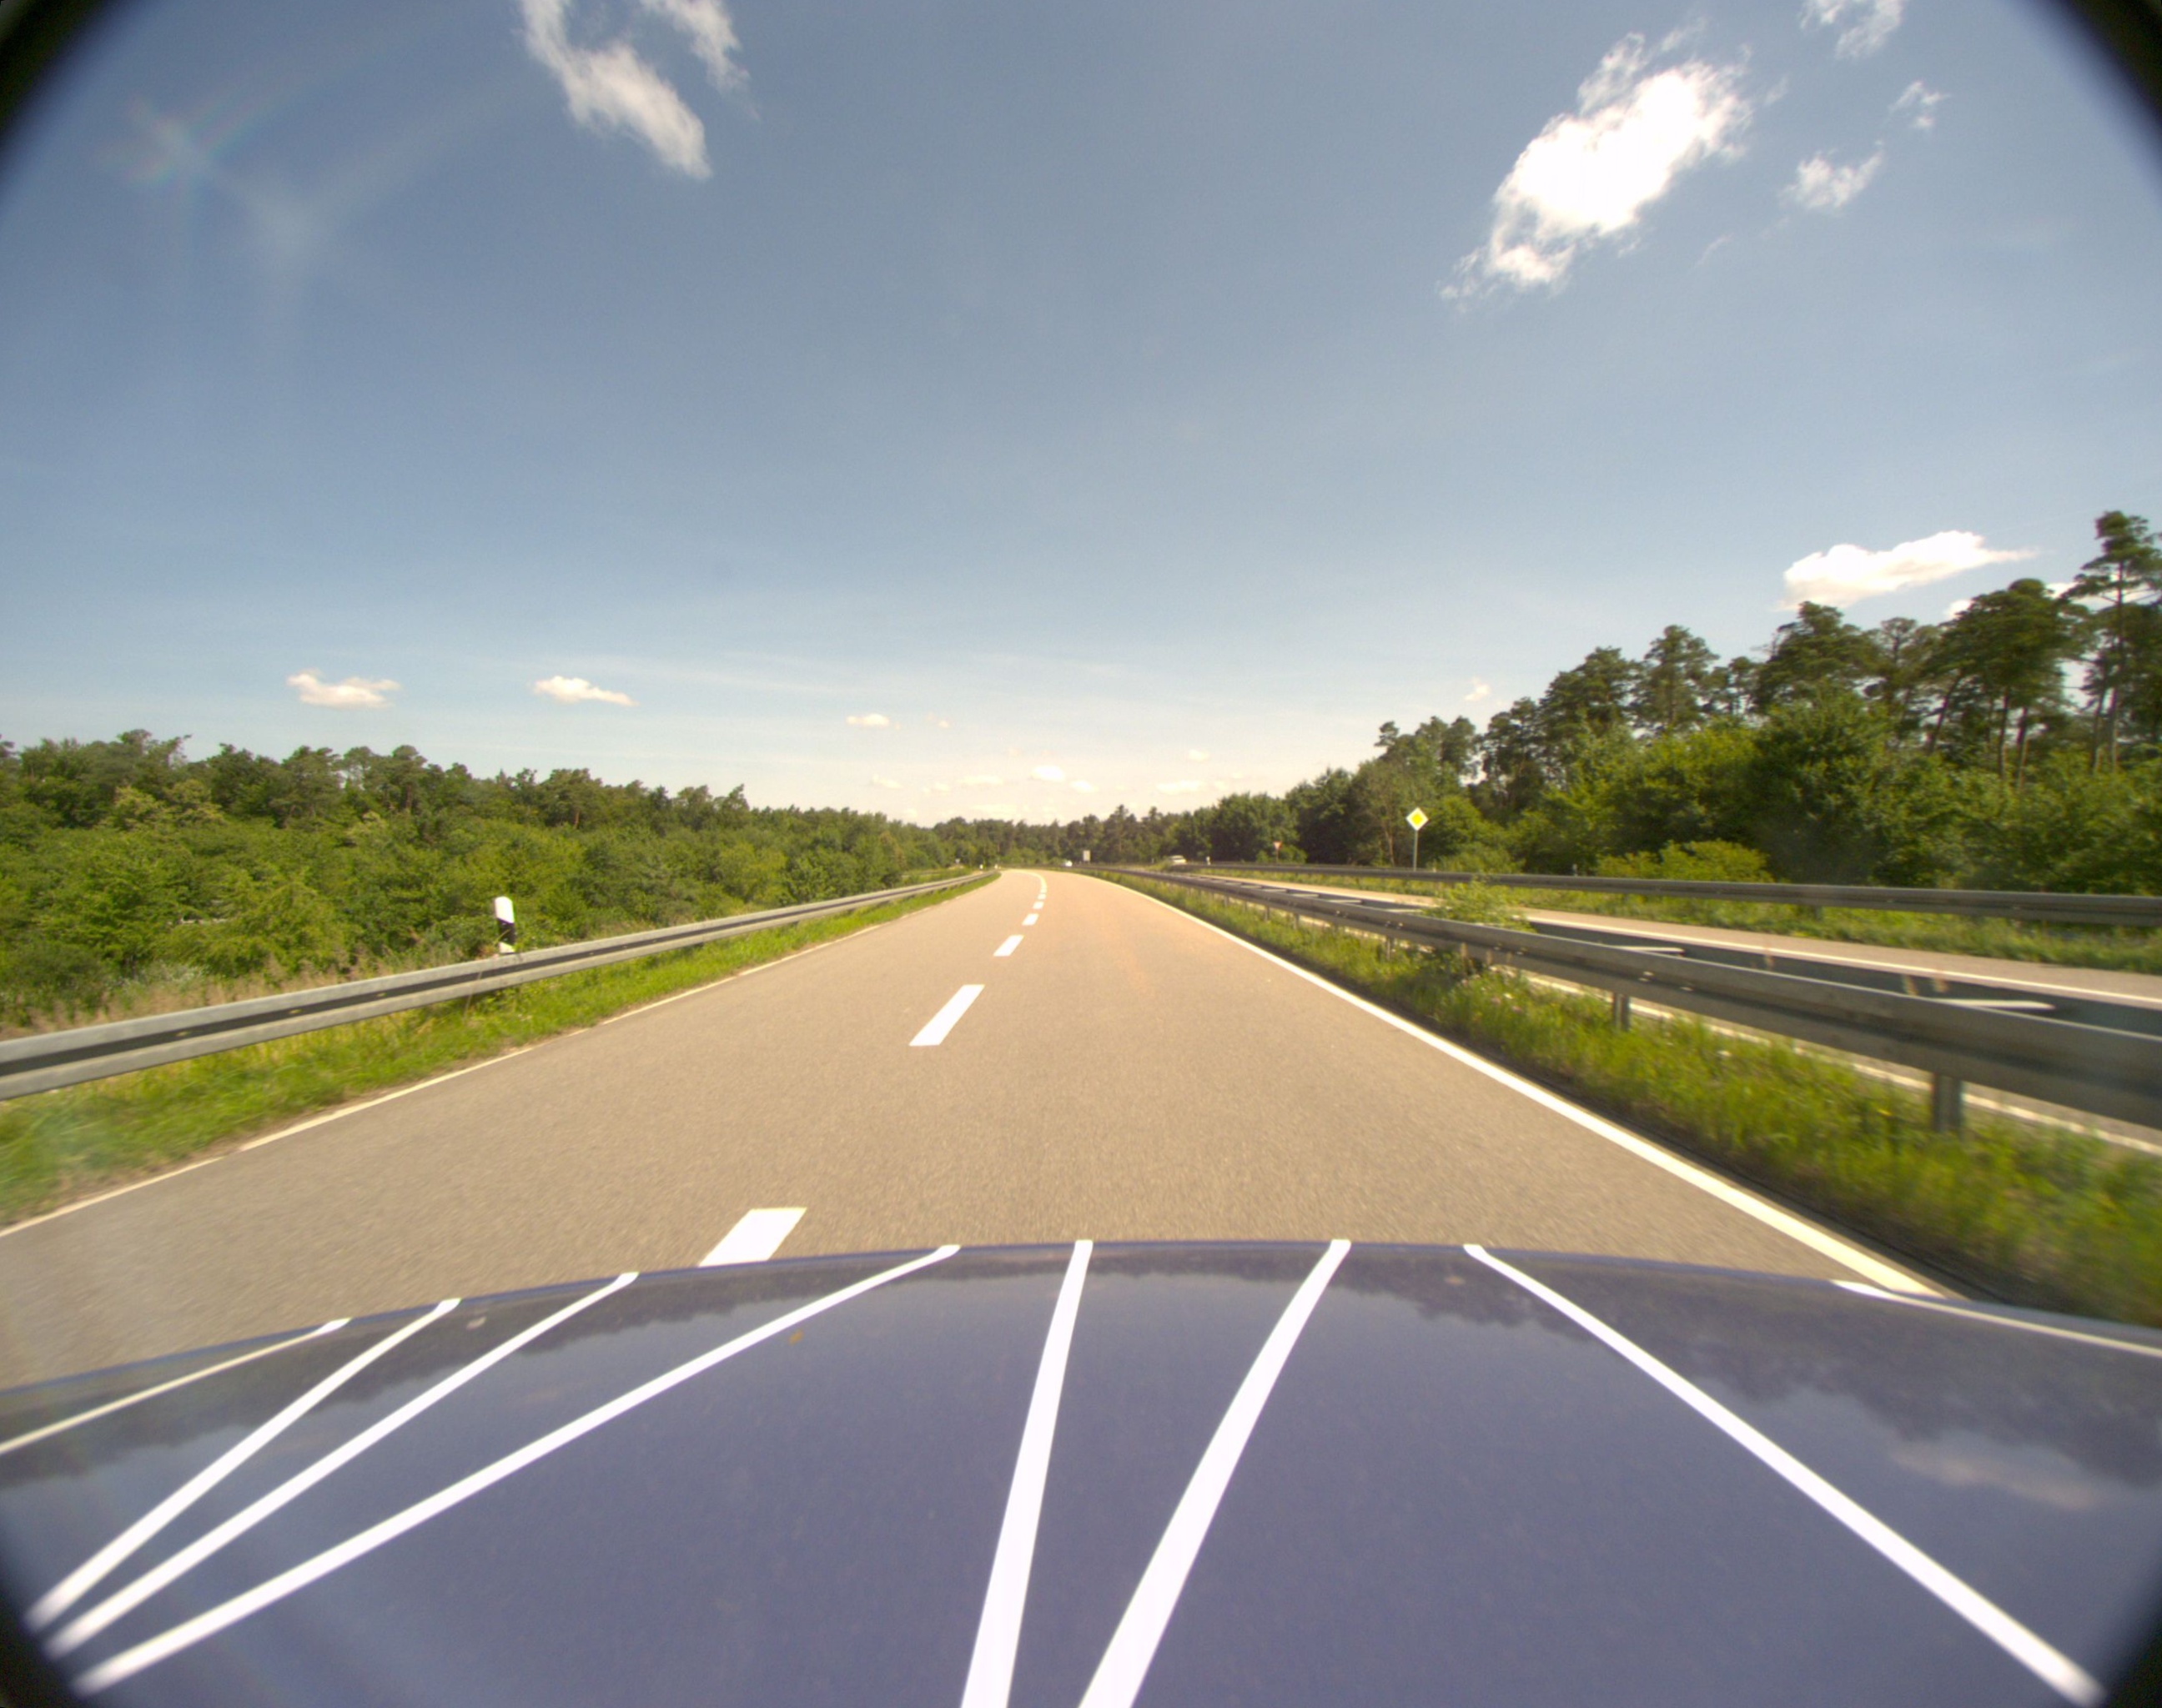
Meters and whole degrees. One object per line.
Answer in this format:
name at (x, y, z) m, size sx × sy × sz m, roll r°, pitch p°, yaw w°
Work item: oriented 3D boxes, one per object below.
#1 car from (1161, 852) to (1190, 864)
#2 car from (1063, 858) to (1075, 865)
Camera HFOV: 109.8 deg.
car at (11.167, 0.448, 89.969) m, size 1.954 × 1.405 × 4.828 m, roll -1°, pitch 0°, yaw -11°
car at (-2.478, 1.491, 157.997) m, size 1.684 × 1.419 × 4.208 m, roll -2°, pitch 0°, yaw -11°
